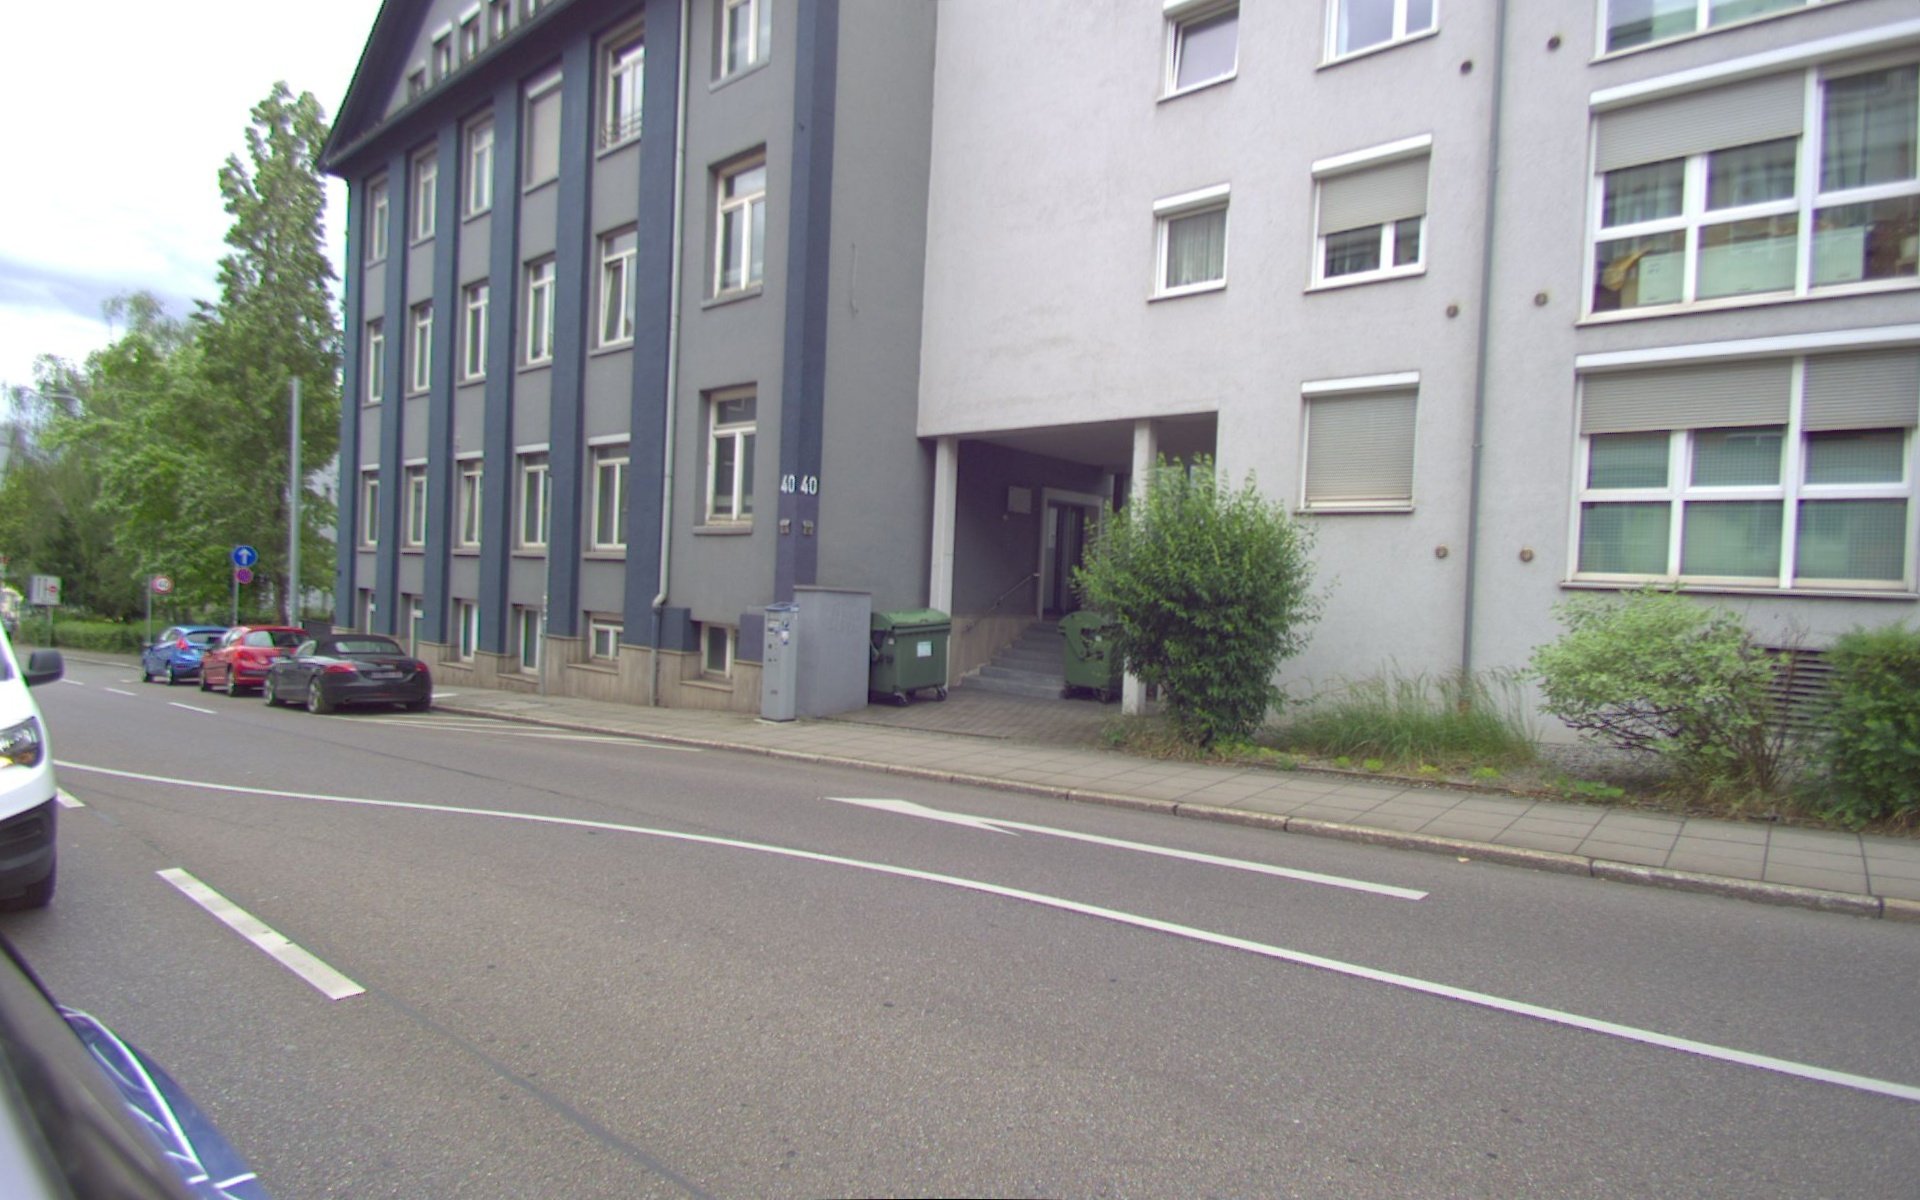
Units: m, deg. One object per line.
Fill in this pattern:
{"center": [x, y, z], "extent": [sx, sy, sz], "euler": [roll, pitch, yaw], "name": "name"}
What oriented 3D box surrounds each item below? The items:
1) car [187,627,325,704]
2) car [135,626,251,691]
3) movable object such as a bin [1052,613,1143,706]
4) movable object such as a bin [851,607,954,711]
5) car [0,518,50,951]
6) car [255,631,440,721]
{"center": [-15.365, 1.350, 22.028], "extent": [3.727, 1.460, 1.623], "euler": [-1, 0, 41], "name": "car"}
{"center": [-19.457, 1.414, 25.635], "extent": [3.727, 1.460, 1.623], "euler": [-1, 0, 41], "name": "car"}
{"center": [2.258, 0.942, 16.594], "extent": [1.078, 1.427, 1.026], "euler": [-1, 0, 41], "name": "movable object such as a bin"}
{"center": [-0.886, 0.876, 15.716], "extent": [1.039, 1.518, 1.213], "euler": [-1, 0, 41], "name": "movable object such as a bin"}
{"center": [-6.166, 0.613, 5.231], "extent": [3.998, 1.901, 1.716], "euler": [-1, 0, 41], "name": "car"}
{"center": [-11.014, 1.272, 18.123], "extent": [3.727, 1.403, 1.778], "euler": [-1, -2, 41], "name": "car"}
